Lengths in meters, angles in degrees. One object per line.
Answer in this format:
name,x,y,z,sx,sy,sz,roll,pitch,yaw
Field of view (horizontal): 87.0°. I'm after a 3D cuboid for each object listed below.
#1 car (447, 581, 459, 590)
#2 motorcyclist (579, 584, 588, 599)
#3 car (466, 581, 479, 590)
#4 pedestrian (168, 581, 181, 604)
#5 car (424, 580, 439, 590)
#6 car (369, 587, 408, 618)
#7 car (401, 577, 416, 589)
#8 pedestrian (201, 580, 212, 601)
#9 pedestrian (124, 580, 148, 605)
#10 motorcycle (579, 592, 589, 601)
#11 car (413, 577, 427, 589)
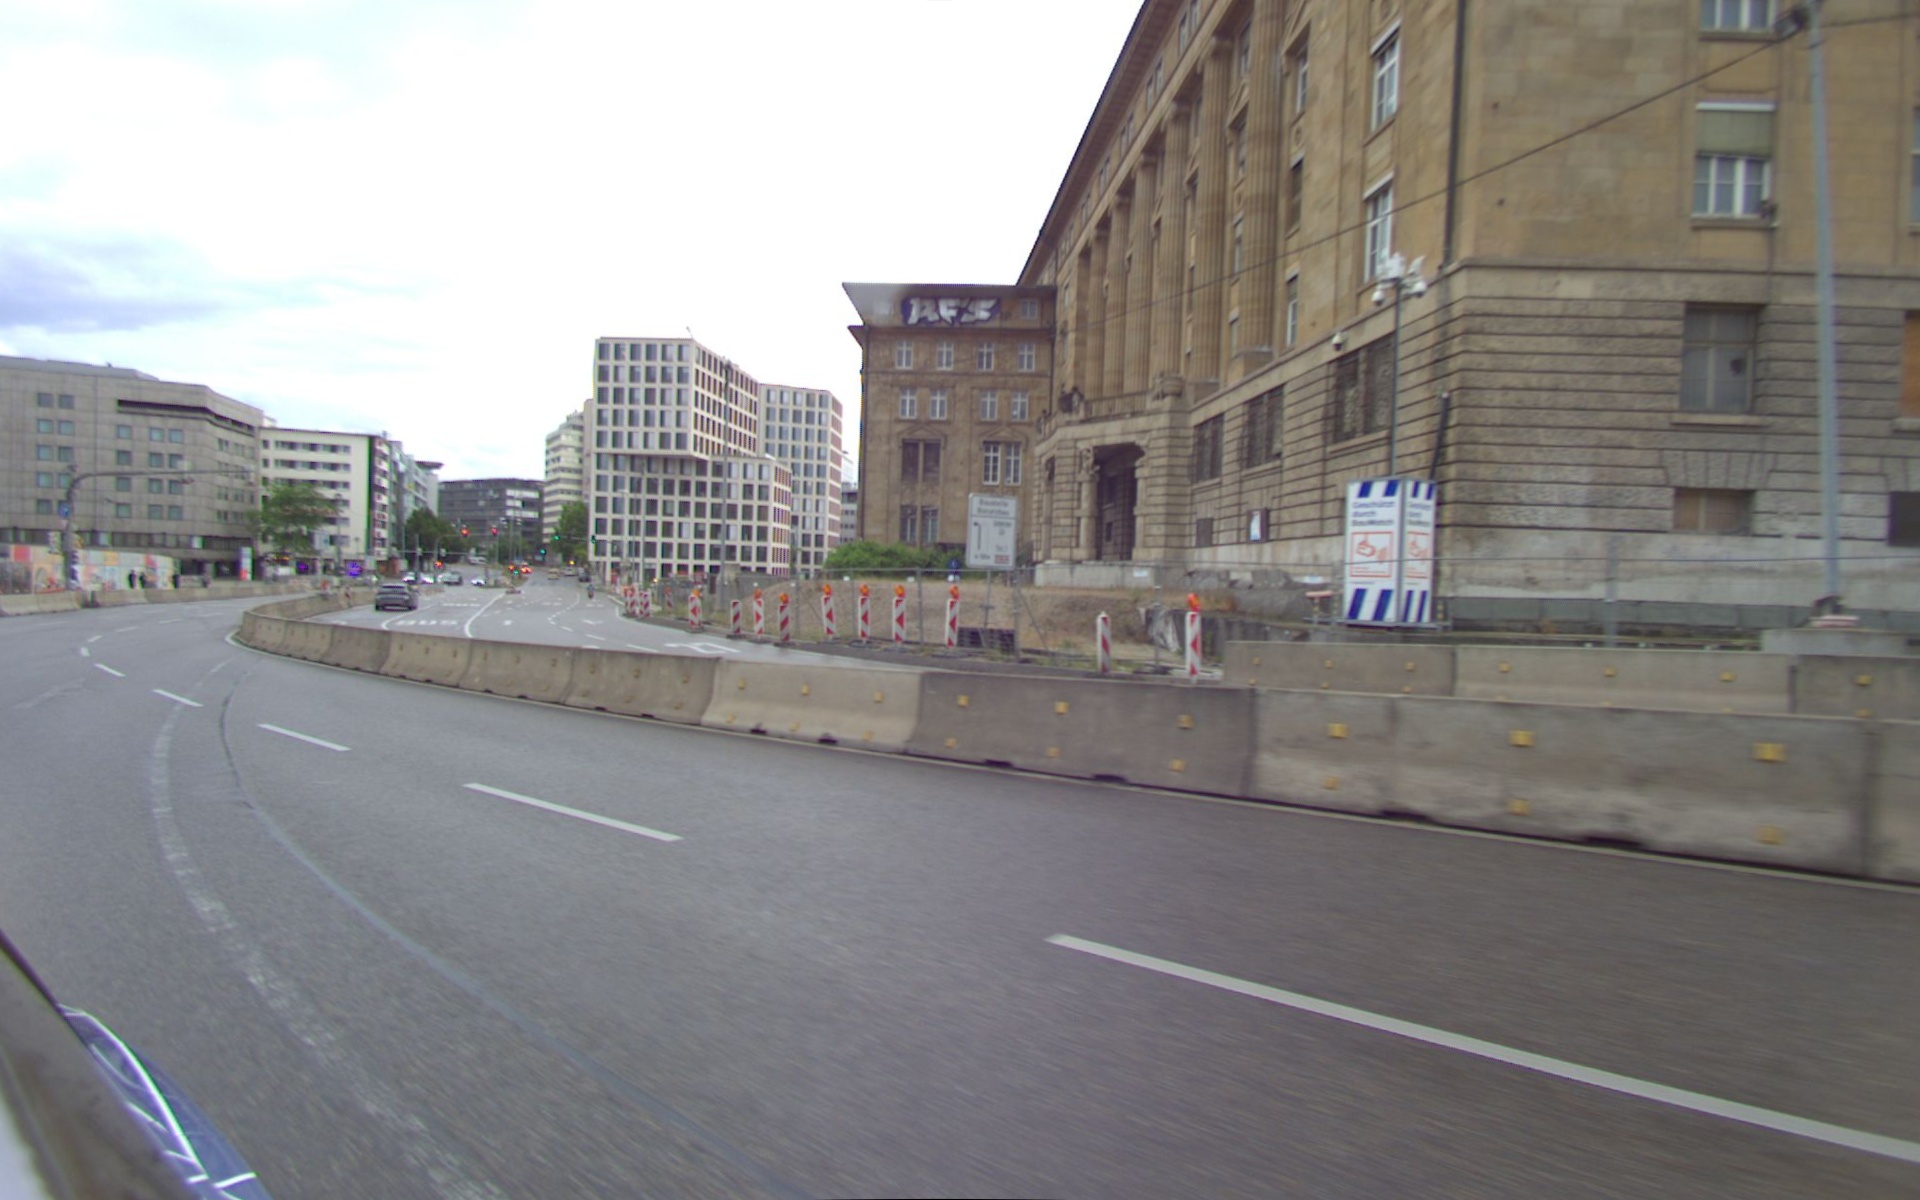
car,-79.815,-2.300,159.215,1.680,1.464,3.808,1,1,-27
motorcyclist,-38.044,-0.821,102.342,0.692,1.498,0.966,1,1,-28
car,-77.568,-2.297,161.043,1.762,1.464,3.684,1,1,-27
pedestrian,-62.032,-0.603,79.902,0.745,1.774,0.767,3,-1,-38
car,-82.941,-2.357,158.917,1.965,1.464,4.013,1,1,-27
car,-30.614,0.102,54.245,1.742,1.532,4.401,1,1,-29
car,-86.406,-2.620,158.537,1.965,1.838,4.013,1,1,-27
pedestrian,-64.548,-0.792,86.696,0.643,1.774,0.550,3,-1,-38
pedestrian,-61.806,-0.578,75.915,1.081,1.774,0.909,3,-1,-22
motorcycle,-38.043,-0.343,102.341,0.692,0.899,1.829,1,1,-28
car,-89.011,-2.780,166.753,1.965,1.862,4.013,1,1,-27
